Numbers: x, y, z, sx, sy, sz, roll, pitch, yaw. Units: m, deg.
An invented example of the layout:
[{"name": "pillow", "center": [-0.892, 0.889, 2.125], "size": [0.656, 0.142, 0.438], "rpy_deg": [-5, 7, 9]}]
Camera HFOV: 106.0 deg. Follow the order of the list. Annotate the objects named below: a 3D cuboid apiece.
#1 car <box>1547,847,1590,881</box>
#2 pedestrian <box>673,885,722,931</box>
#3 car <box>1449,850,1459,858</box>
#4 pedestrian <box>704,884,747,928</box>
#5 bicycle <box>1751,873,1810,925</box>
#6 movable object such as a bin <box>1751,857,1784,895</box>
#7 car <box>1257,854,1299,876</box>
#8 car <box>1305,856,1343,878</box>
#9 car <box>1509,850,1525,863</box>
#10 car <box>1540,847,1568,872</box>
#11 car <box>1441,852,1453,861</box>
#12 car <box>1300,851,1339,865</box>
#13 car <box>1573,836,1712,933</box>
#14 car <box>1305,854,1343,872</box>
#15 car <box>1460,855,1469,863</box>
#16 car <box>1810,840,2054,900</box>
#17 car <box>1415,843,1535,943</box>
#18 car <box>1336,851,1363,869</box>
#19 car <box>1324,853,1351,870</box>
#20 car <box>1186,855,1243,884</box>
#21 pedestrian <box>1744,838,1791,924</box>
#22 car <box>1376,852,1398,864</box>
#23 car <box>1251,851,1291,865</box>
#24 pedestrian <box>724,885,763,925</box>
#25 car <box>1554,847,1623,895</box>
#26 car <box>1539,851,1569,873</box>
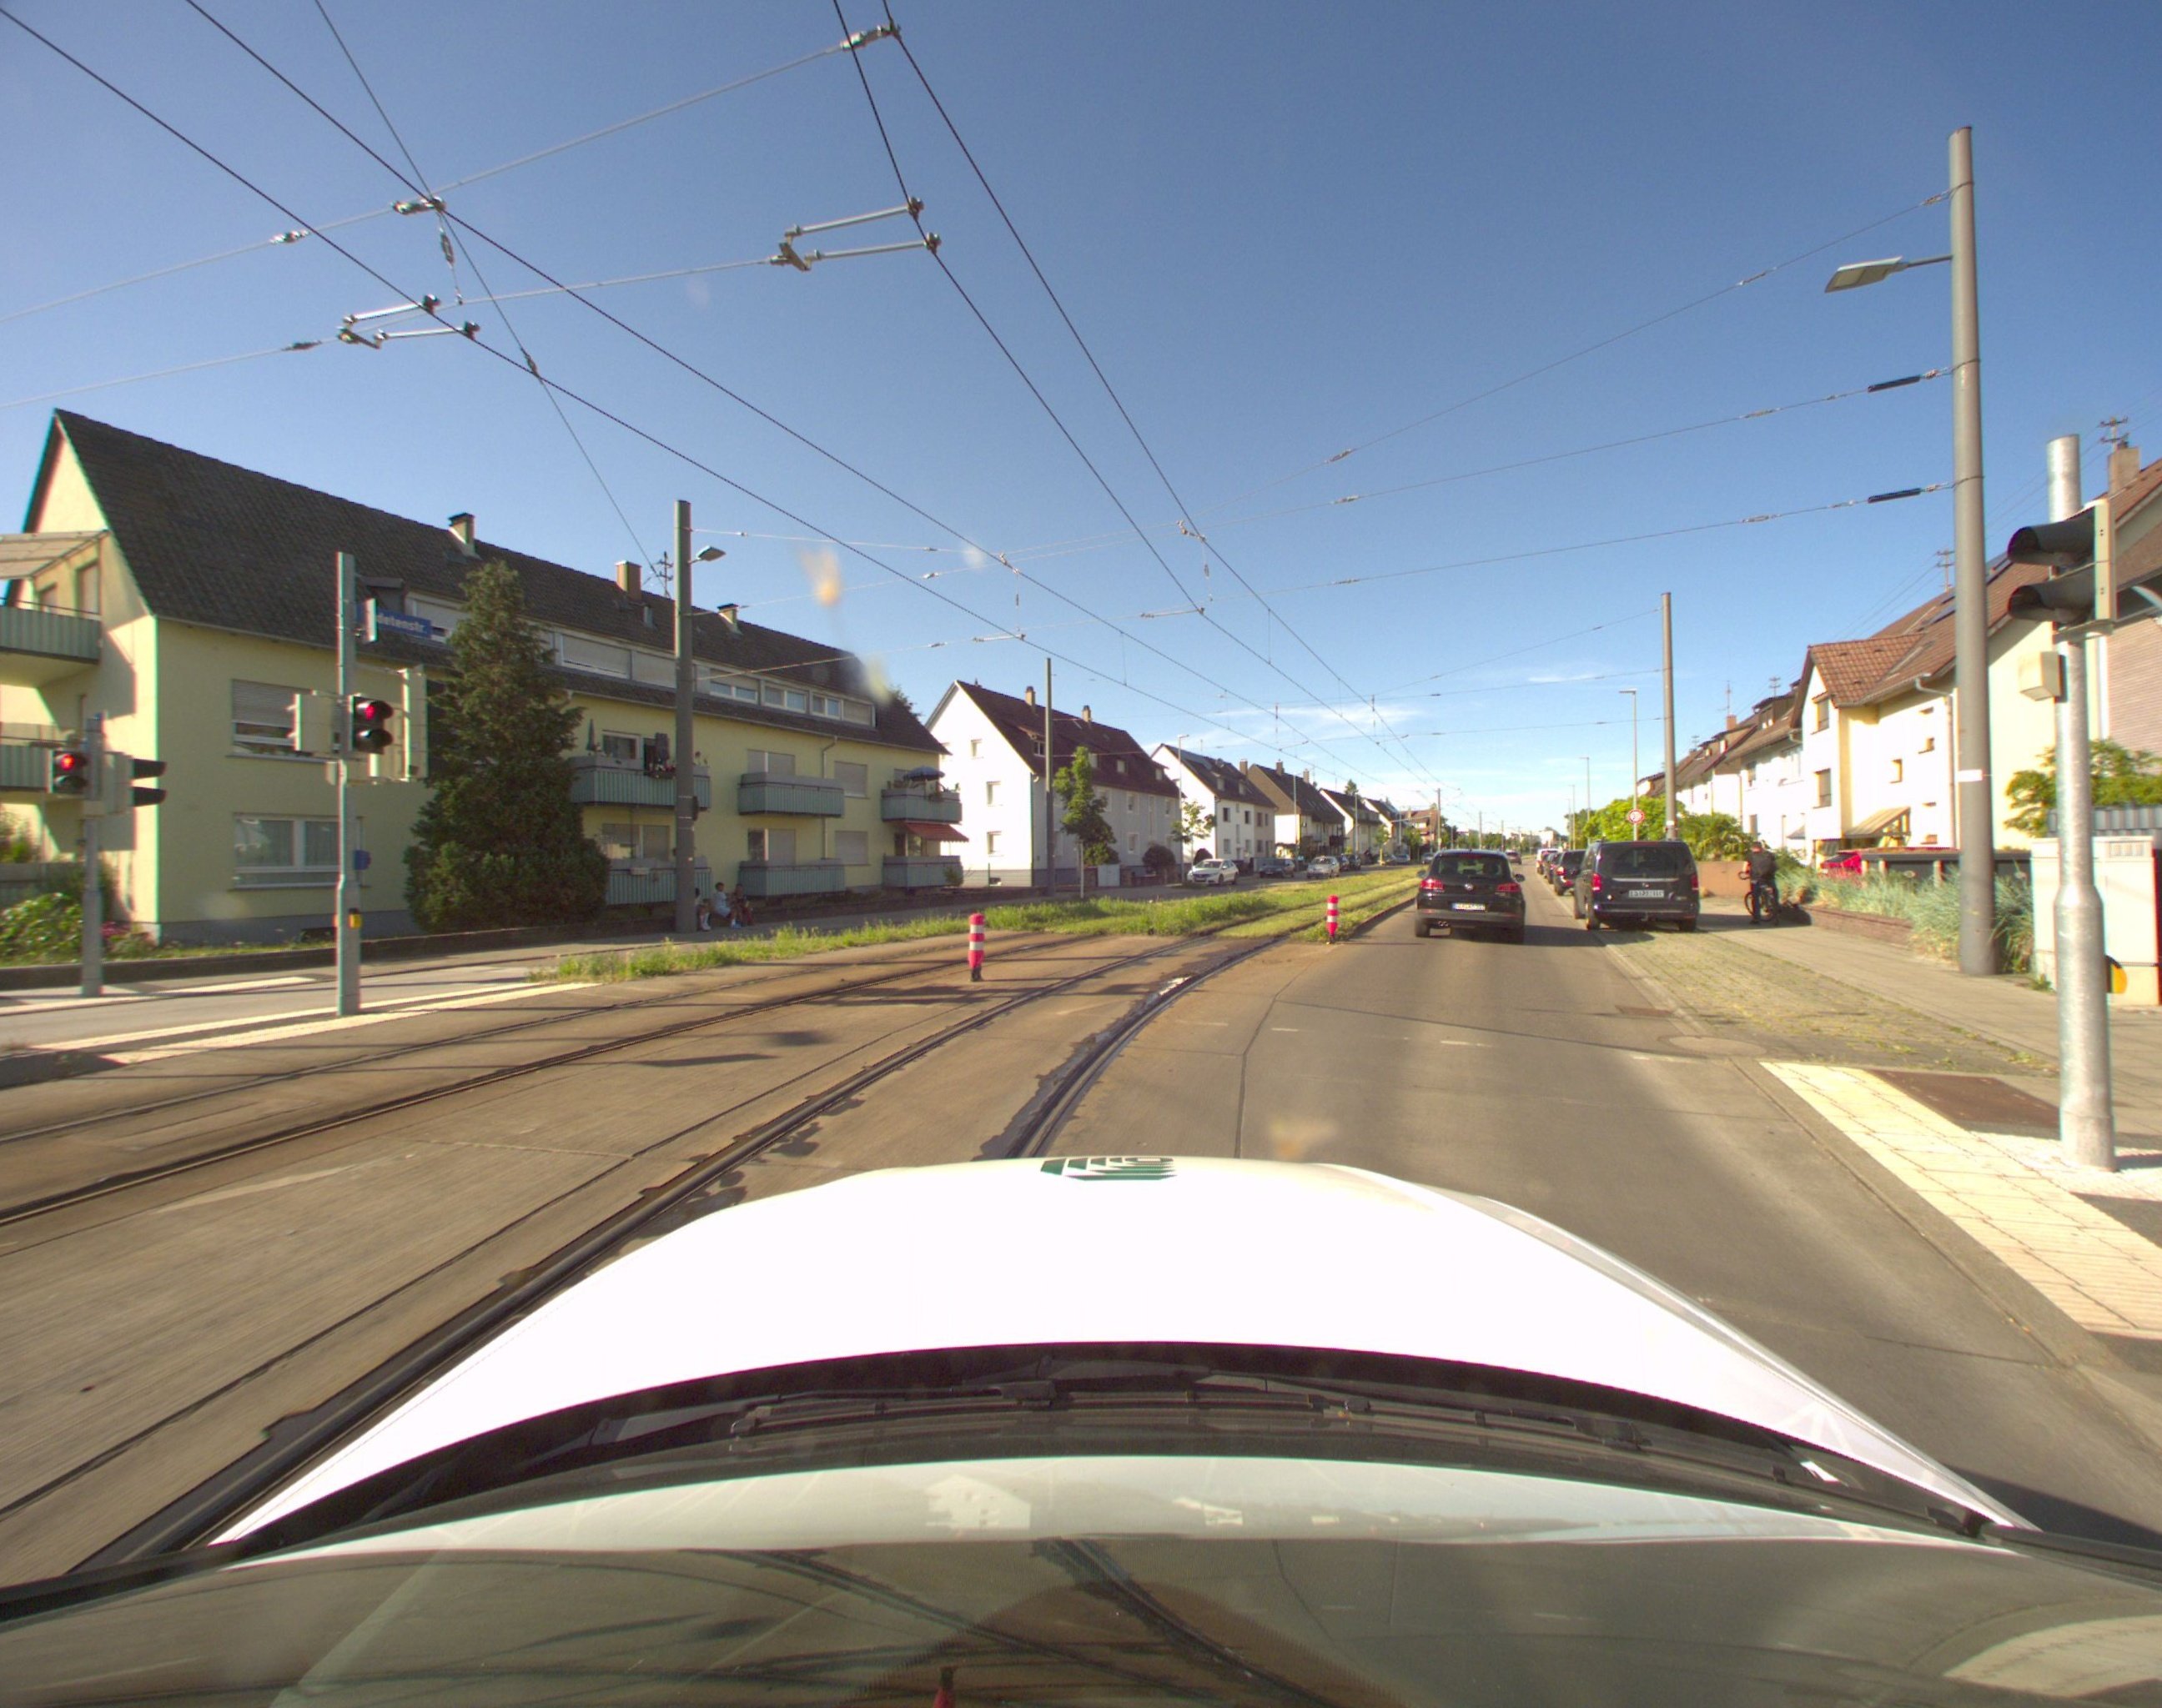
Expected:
[{"name": "car", "center": [23.807, 0.477, 39.848], "size": [1.650, 1.547, 3.859], "rpy_deg": [-3, -1, 30]}, {"name": "pedestrian", "center": [-9.137, 1.267, 19.422], "size": [0.810, 1.046, 0.692], "rpy_deg": [-1, -1, 26]}, {"name": "car", "center": [70.037, 0.017, 152.823], "size": [1.501, 1.361, 3.612], "rpy_deg": [-1, 0, 28]}, {"name": "pedestrian", "center": [-8.827, 1.273, 20.235], "size": [0.816, 1.065, 0.625], "rpy_deg": [0, -2, -5]}, {"name": "bicycle", "center": [14.151, 0.889, 16.514], "size": [0.595, 0.980, 1.572], "rpy_deg": [-3, -2, 30]}, {"name": "movable object such as a bin", "center": [21.002, 0.669, 24.927], "size": [0.662, 1.114, 0.319], "rpy_deg": [-3, -1, 29]}, {"name": "car", "center": [13.859, 0.741, 57.185], "size": [1.773, 1.463, 4.192], "rpy_deg": [-1, 0, 29]}, {"name": "car", "center": [15.929, 0.834, 53.286], "size": [1.535, 1.412, 3.681], "rpy_deg": [-1, 0, 29]}, {"name": "car", "center": [49.922, 0.258, 93.232], "size": [1.557, 1.391, 3.636], "rpy_deg": [-1, 0, 29]}, {"name": "car", "center": [35.399, 0.374, 61.033], "size": [1.673, 1.776, 4.684], "rpy_deg": [-1, 0, 29]}, {"name": "car", "center": [66.759, 0.434, 148.449], "size": [1.644, 1.581, 4.024], "rpy_deg": [-1, -2, 29]}, {"name": "car", "center": [27.608, 0.464, 94.383], "size": [4.127, 1.617, 1.770], "rpy_deg": [-1, 0, 25]}, {"name": "car", "center": [12.246, 0.592, 18.082], "size": [1.943, 1.836, 4.957], "rpy_deg": [-1, 0, 28]}, {"name": "car", "center": [20.882, 0.731, 69.839], "size": [1.859, 1.523, 4.911], "rpy_deg": [0, 0, 31]}, {"name": "car", "center": [79.090, 0.974, 167.811], "size": [1.451, 1.677, 3.307], "rpy_deg": [-1, -1, 29]}, {"name": "car", "center": [22.620, 0.427, 21.912], "size": [4.126, 1.467, 1.912], "rpy_deg": [-1, 0, 27]}, {"name": "car", "center": [7.560, 0.658, 15.980], "size": [1.796, 1.670, 4.280], "rpy_deg": [1, 0, 22]}, {"name": "car", "center": [26.178, 0.570, 79.273], "size": [1.786, 1.597, 4.840], "rpy_deg": [-1, 0, 26]}, {"name": "car", "center": [23.455, 0.692, 74.431], "size": [1.506, 1.475, 4.227], "rpy_deg": [-1, 0, 29]}, {"name": "car", "center": [7.374, 0.835, 44.773], "size": [1.676, 1.518, 4.240], "rpy_deg": [-1, 0, 29]}, {"name": "pedestrian", "center": [14.101, 0.537, 16.750], "size": [0.577, 1.723, 0.719], "rpy_deg": [-1, -1, 29]}, {"name": "car", "center": [36.840, 0.482, 97.995], "size": [1.603, 1.453, 3.741], "rpy_deg": [-1, 0, 34]}, {"name": "car", "center": [22.643, 0.495, 97.076], "size": [4.118, 1.654, 1.869], "rpy_deg": [-1, 0, 32]}, {"name": "pedestrian", "center": [-8.621, 1.301, 20.835], "size": [0.718, 1.006, 0.596], "rpy_deg": [0, -2, 4]}, {"name": "car", "center": [18.832, 0.585, 30.372], "size": [1.836, 1.659, 4.500], "rpy_deg": [-1, 0, 28]}, {"name": "car", "center": [32.597, 0.529, 56.146], "size": [1.655, 1.453, 4.151], "rpy_deg": [-1, -1, 29]}]
